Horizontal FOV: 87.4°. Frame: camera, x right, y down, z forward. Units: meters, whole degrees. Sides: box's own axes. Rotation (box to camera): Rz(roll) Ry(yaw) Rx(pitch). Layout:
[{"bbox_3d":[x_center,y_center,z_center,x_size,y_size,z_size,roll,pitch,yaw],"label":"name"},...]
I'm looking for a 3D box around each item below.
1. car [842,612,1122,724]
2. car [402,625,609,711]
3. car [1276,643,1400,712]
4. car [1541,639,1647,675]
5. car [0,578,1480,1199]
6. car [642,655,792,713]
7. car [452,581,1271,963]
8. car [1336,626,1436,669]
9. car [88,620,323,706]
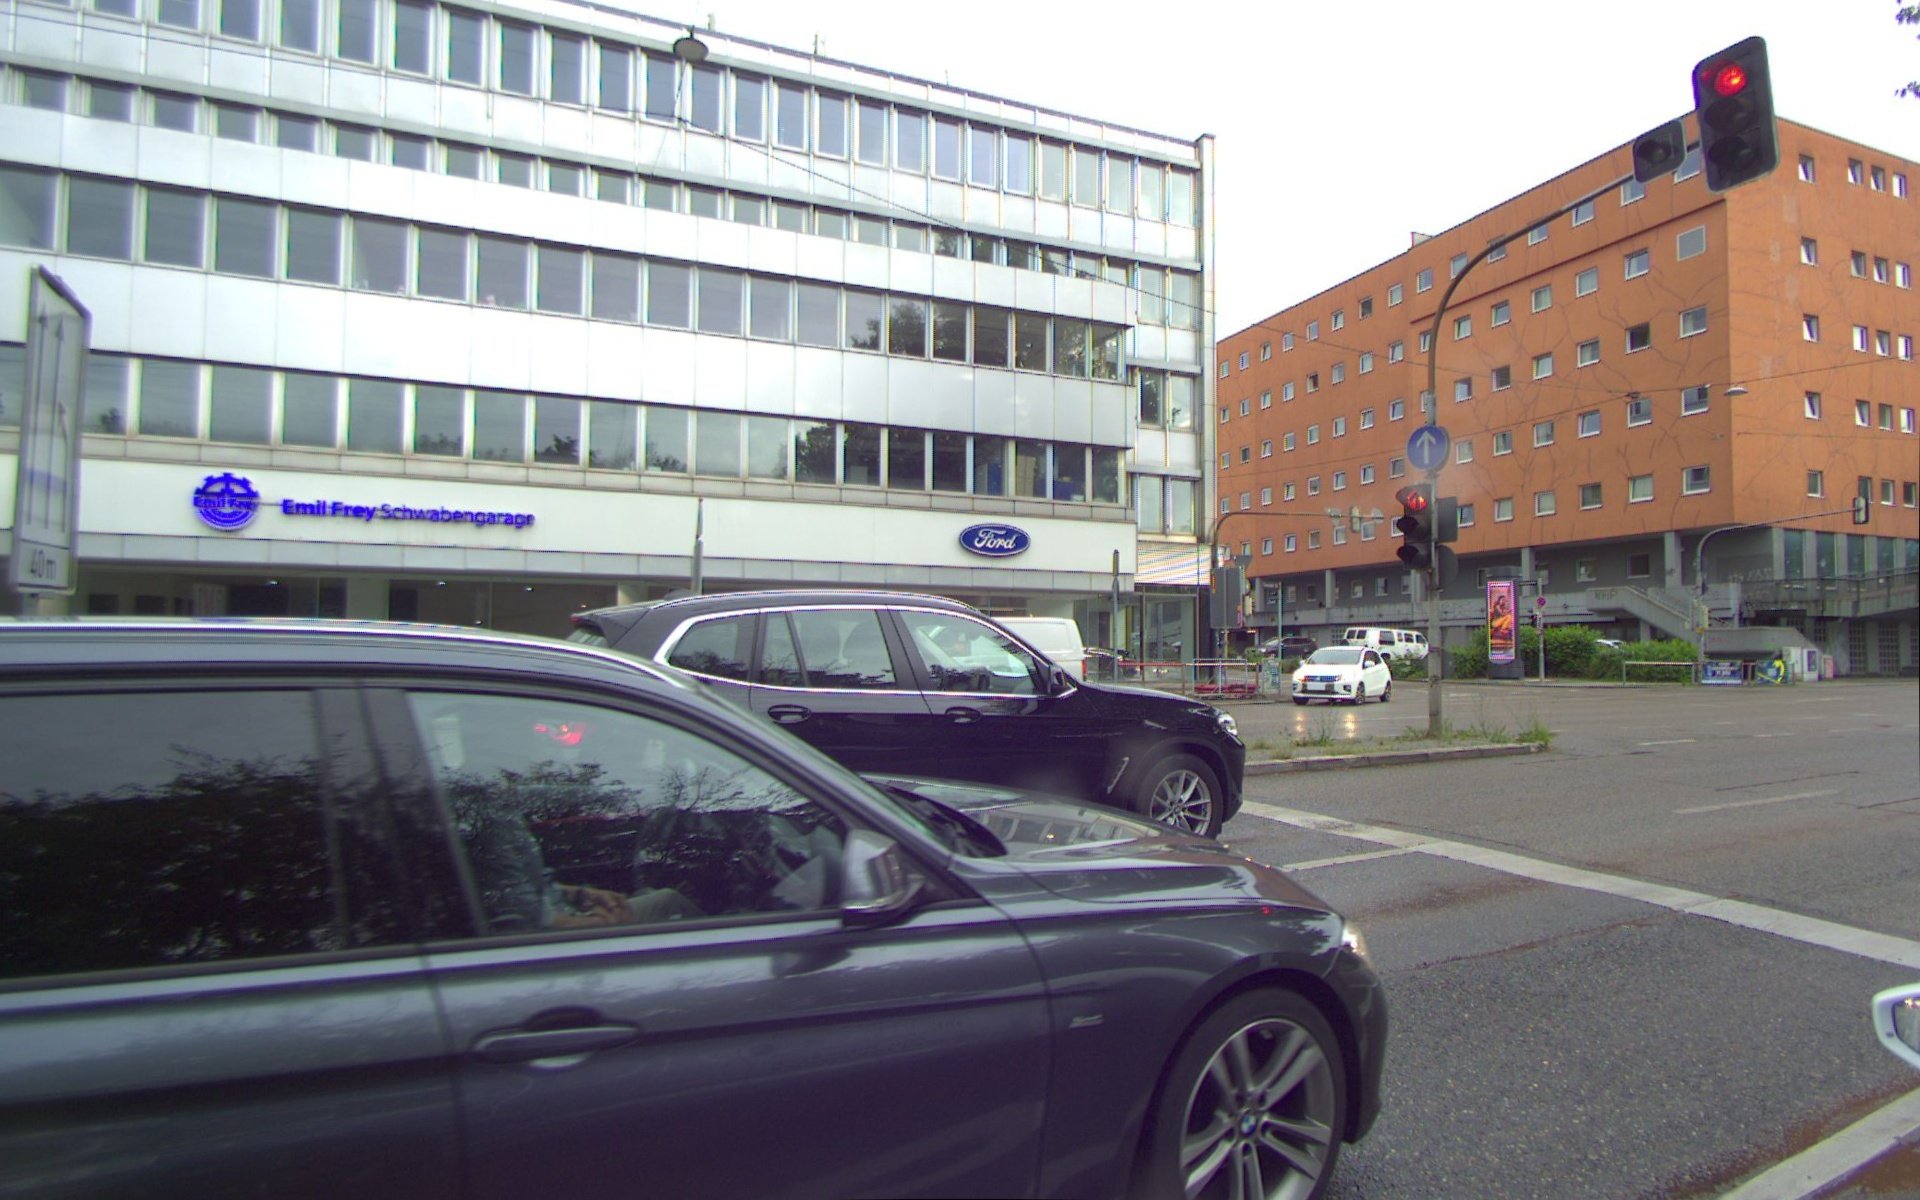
[{"bbox_3d":[0.451,1.323,19.620,5.142,1.957,1.988,2,-4,-25],"label":"car"},{"bbox_3d":[-11.653,1.760,25.702,5.109,2.037,1.999,-2,-4,26],"label":"car"},{"bbox_3d":[10.098,2.033,26.590,1.967,1.659,4.811,-3,-5,34],"label":"car"},{"bbox_3d":[30.568,2.789,48.576,1.865,1.638,4.011,1,-4,-20],"label":"car"},{"bbox_3d":[-0.891,0.763,2.325,4.129,1.469,1.751,4,-2,-30],"label":"car"},{"bbox_3d":[-7.213,2.438,29.454,1.987,1.540,5.139,3,-5,-44],"label":"car"},{"bbox_3d":[-0.513,0.759,6.178,4.609,1.619,1.941,1,0,-27],"label":"car"},{"bbox_3d":[22.151,2.473,52.211,4.782,2.040,1.989,2,1,-23],"label":"car"},{"bbox_3d":[-18.163,1.547,24.223,4.889,1.921,2.001,-2,-4,17],"label":"car"}]
